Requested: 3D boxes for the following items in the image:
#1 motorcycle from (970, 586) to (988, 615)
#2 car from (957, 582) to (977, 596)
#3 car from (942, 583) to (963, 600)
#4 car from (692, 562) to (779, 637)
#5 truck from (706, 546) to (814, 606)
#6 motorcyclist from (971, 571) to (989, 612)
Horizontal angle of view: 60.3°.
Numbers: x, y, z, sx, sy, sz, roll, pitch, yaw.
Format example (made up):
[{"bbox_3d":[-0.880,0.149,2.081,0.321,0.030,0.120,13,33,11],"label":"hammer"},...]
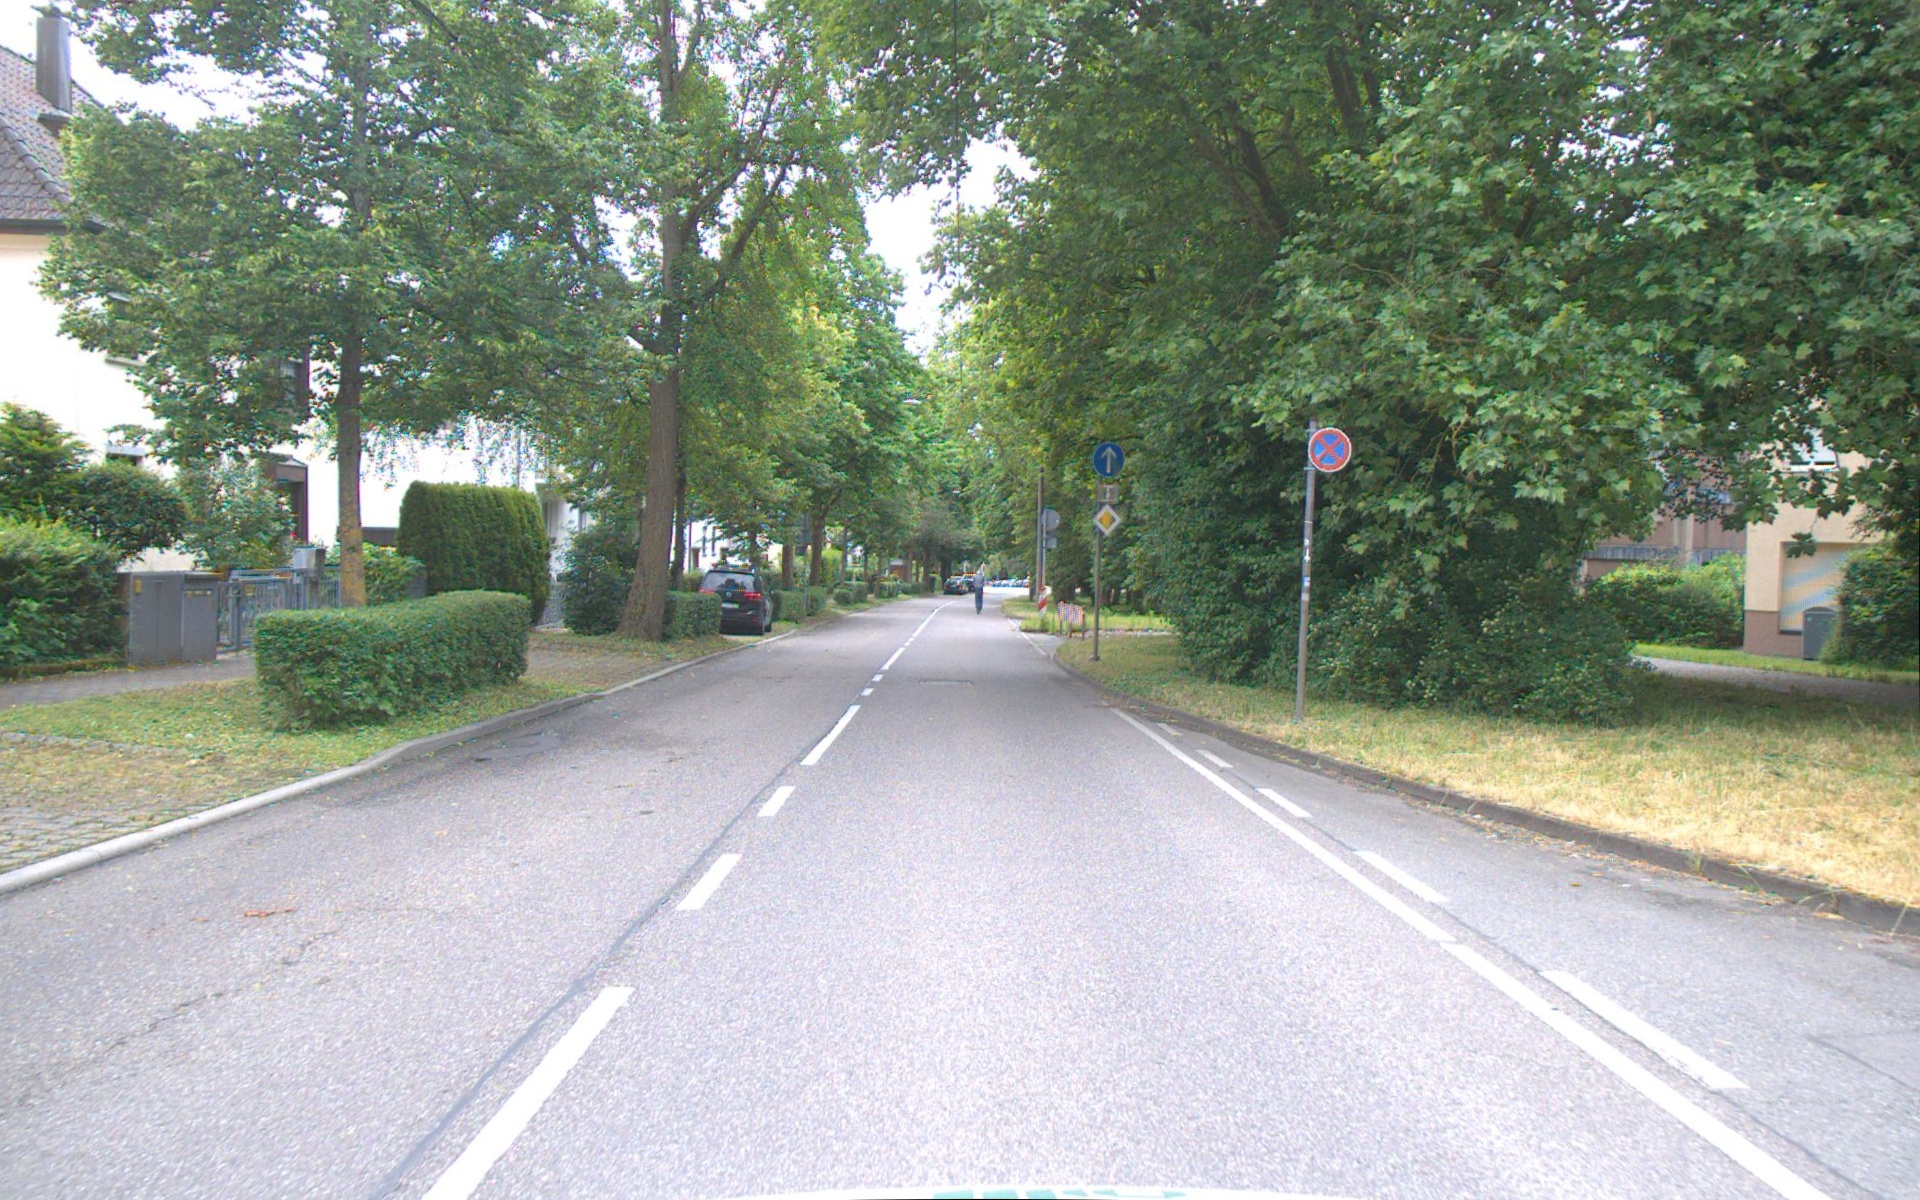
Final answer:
[{"bbox_3d":[0.854,0.024,73.468,0.658,1.238,1.274,3,0,5],"label":"motorcycle"},{"bbox_3d":[0.759,-1.173,181.380,1.852,1.435,4.556,1,0,4],"label":"car"},{"bbox_3d":[-0.652,-0.808,150.669,1.757,1.498,4.419,1,0,1],"label":"car"},{"bbox_3d":[-5.759,-0.028,42.853,1.788,1.784,4.451,2,0,-3],"label":"car"},{"bbox_3d":[-11.210,-1.331,93.207,5.677,3.185,2.518,2,0,0],"label":"truck"},{"bbox_3d":[0.880,-0.358,73.601,0.658,1.792,0.639,3,0,5],"label":"motorcyclist"}]
